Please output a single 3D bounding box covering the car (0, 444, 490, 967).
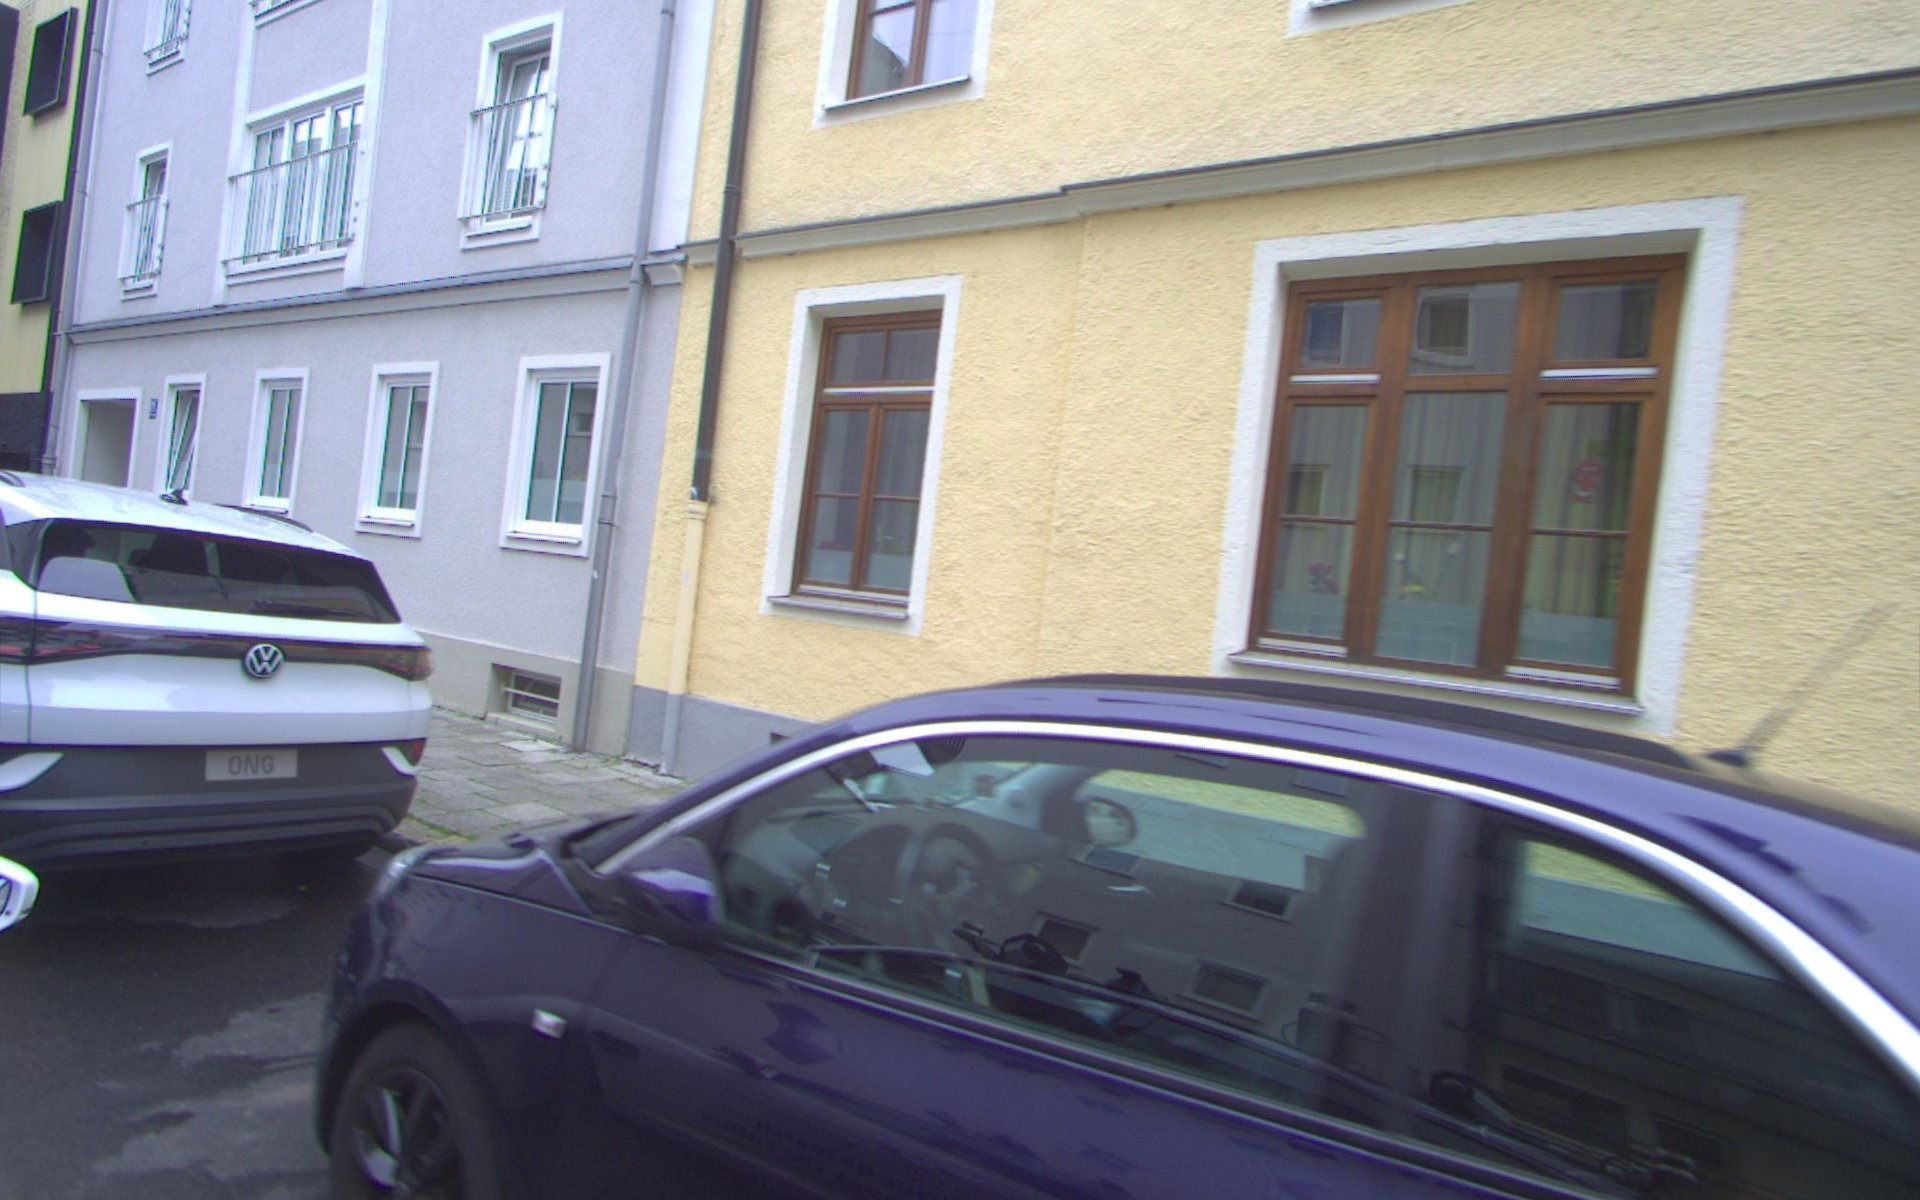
[{"bbox_3d":[-4.396,0.201,4.745,4.342,1.584,1.686,7,-3,32],"label":"car"}]

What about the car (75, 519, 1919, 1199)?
[{"bbox_3d":[0.123,0.846,2.049,3.754,1.485,1.669,7,-3,31],"label":"car"}]
